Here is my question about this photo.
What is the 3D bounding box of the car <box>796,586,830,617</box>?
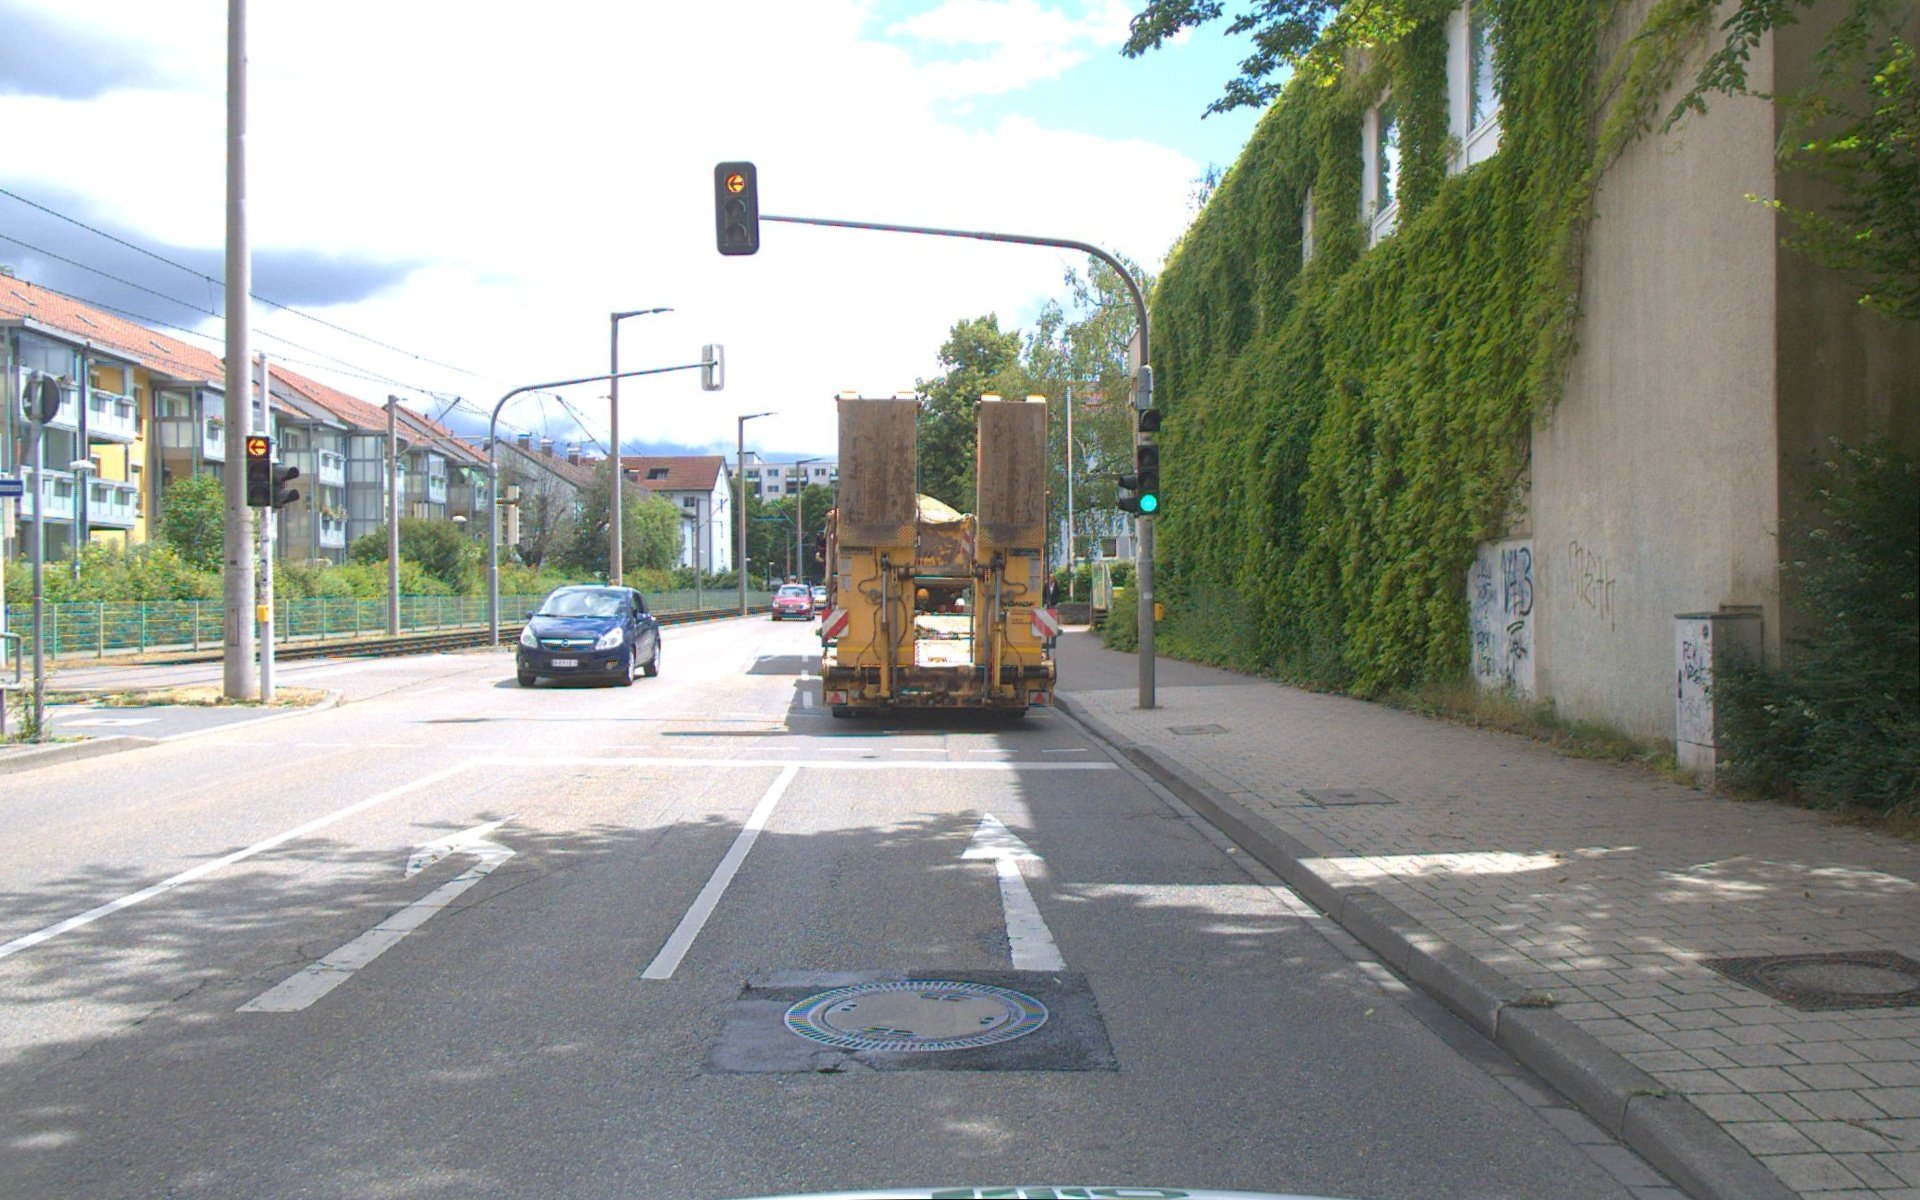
[{"bbox_3d":[-7.877,0.061,88.957,1.725,1.579,3.997,1,0,-4],"label":"car"}]

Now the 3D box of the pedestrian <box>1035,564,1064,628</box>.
[{"bbox_3d":[2.580,-0.117,47.613,0.792,1.802,0.817,1,0,4],"label":"pedestrian"}]

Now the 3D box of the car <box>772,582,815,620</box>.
[{"bbox_3d":[-7.383,0.031,73.473,1.630,1.579,3.998,1,0,-3],"label":"car"}]

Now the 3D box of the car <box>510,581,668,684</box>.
[{"bbox_3d":[-5.665,0.458,25.712,1.683,1.466,4.007,0,0,-2],"label":"car"}]

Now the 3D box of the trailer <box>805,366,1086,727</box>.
[{"bbox_3d":[-0.713,-0.584,23.455,2.773,3.709,12.338,1,0,-6],"label":"trailer"}]
